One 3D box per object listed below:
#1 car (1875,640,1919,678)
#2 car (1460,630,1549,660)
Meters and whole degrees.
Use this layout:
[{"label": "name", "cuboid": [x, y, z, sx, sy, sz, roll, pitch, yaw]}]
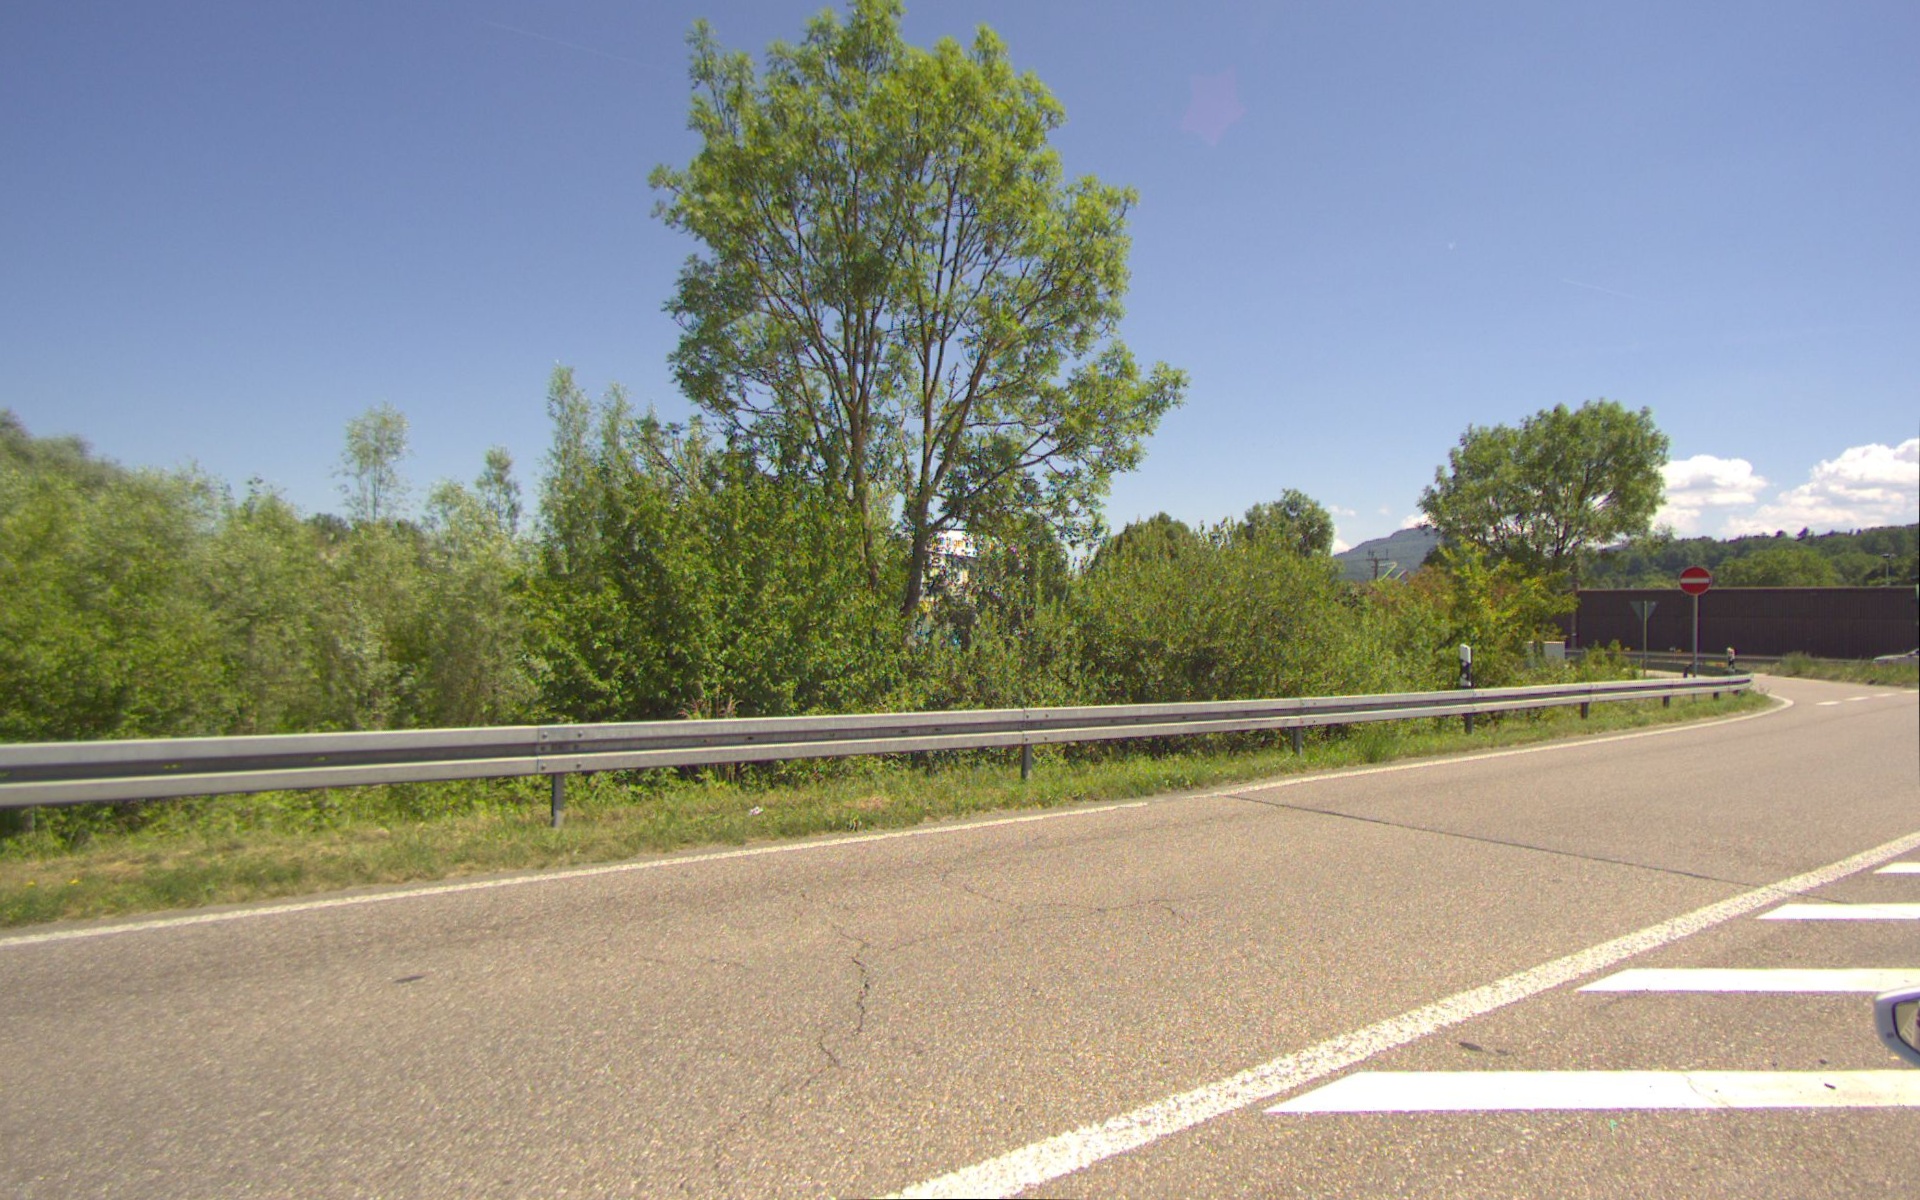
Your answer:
[{"label": "car", "cuboid": [40.956, 2.512, 41.744, 1.979, 1.505, 3.964, 2, 0, -33]}, {"label": "car", "cuboid": [30.992, 2.569, 57.251, 1.980, 1.505, 3.962, 2, 0, -34]}]
